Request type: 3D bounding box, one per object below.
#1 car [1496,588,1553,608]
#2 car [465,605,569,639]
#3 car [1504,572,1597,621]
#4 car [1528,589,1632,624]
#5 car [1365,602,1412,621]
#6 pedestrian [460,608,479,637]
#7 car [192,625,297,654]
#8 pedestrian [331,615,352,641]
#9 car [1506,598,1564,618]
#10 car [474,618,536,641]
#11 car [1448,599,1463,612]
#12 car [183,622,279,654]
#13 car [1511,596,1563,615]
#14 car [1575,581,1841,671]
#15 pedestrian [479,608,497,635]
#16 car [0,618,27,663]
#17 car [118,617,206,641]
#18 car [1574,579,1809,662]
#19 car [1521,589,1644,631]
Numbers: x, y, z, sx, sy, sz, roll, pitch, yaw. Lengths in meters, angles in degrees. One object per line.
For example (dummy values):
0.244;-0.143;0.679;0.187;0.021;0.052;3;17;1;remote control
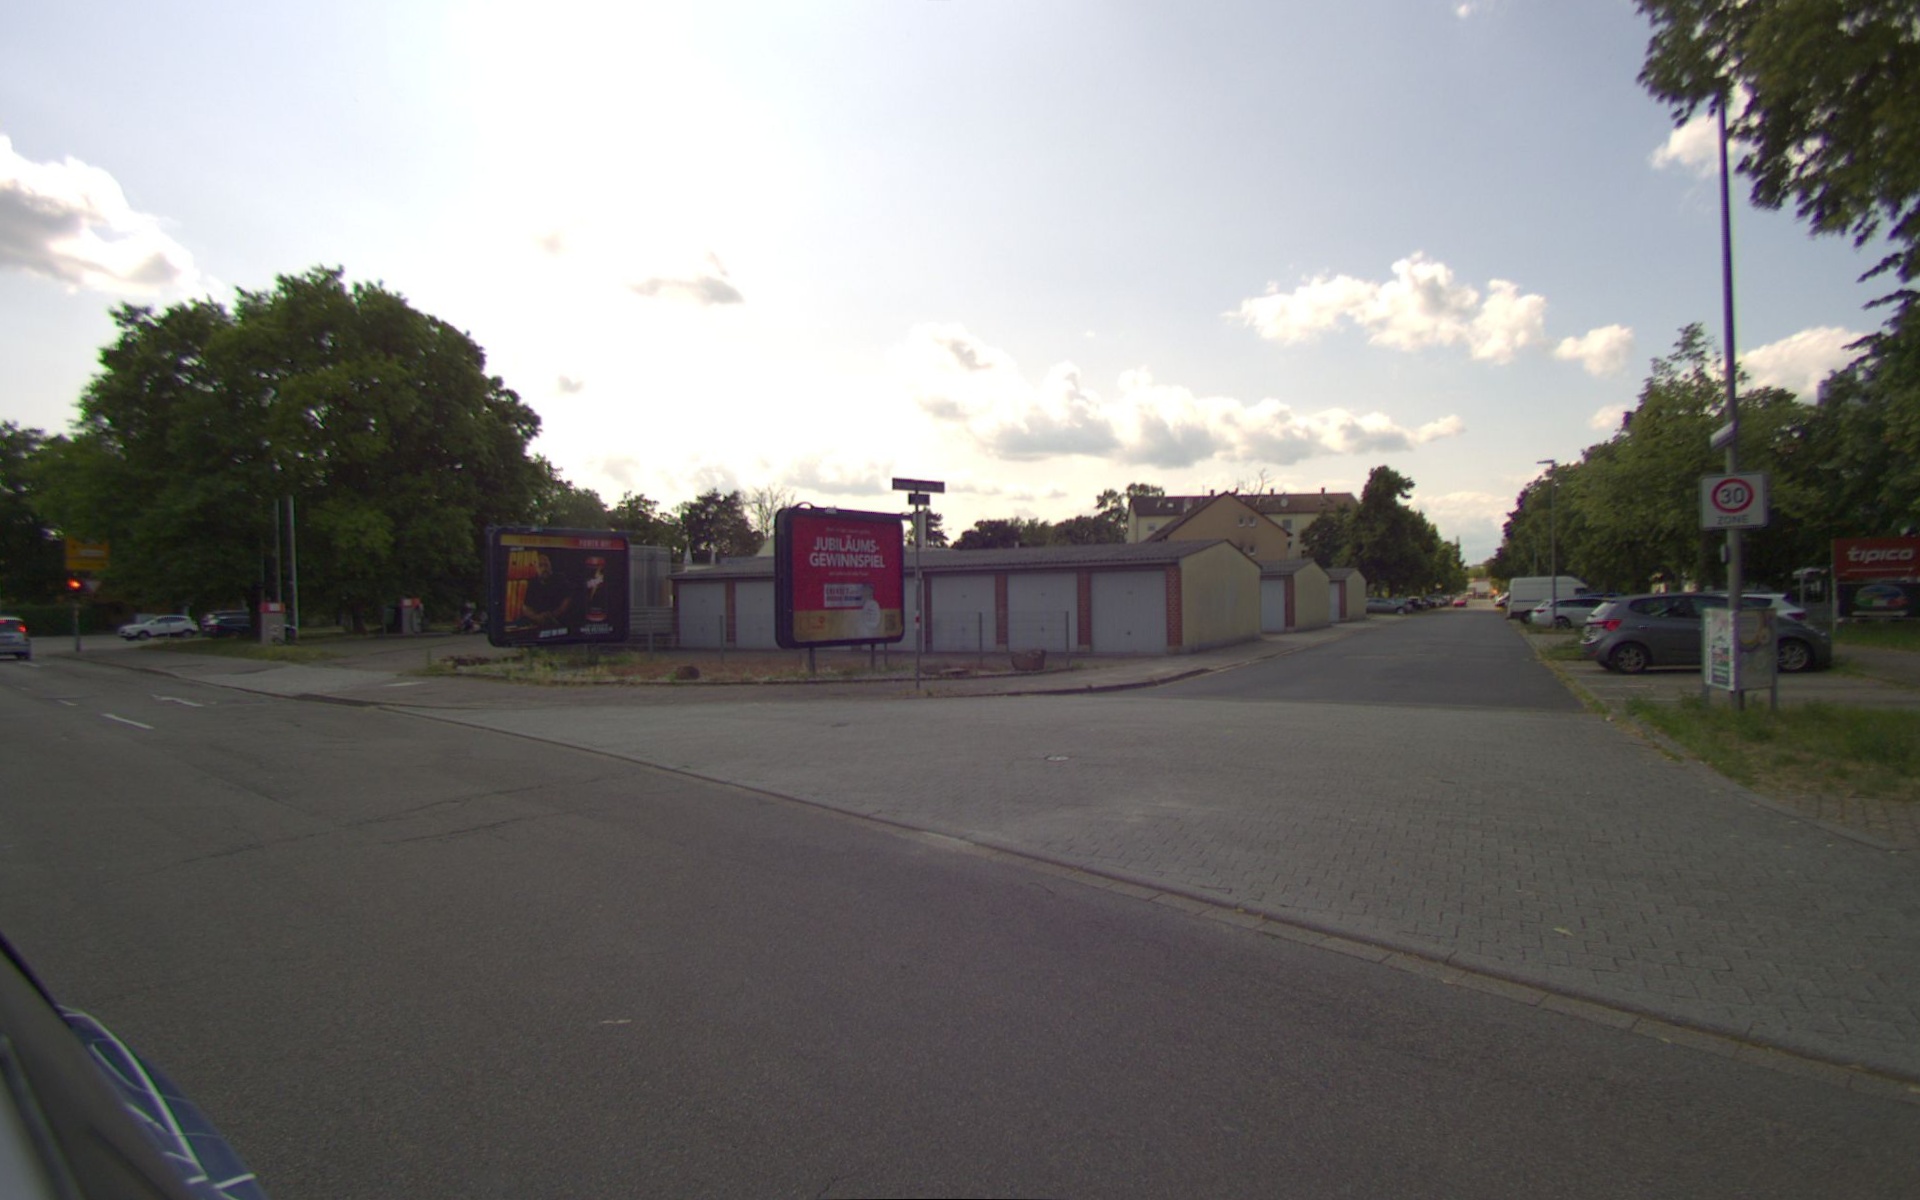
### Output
66.403;-0.176;119.144;5.842;2.183;1.722;-1;-1;29;car
-22.277;1.100;50.914;4.527;1.608;2.141;-1;0;18;car
32.377;-0.189;55.594;4.239;2.547;1.837;-1;-1;27;car
30.605;0.350;50.053;4.247;1.493;1.633;-4;-2;33;car
37.045;0.975;87.517;3.613;1.575;1.471;-1;-1;29;car
-22.018;0.992;45.461;0.634;1.265;0.768;1;0;-16;pedestrian
-42.359;2.299;60.054;1.794;1.508;4.827;1;0;28;car
-37.457;1.669;61.266;0.720;1.543;0.757;-2;0;12;pedestrian
49.832;0.707;87.783;4.247;1.493;1.633;-4;-2;33;car
-35.593;2.302;79.346;1.696;1.631;4.319;0;1;28;car
69.148;0.738;141.356;1.675;1.670;4.105;1;0;24;car
-44.865;2.300;62.394;1.810;1.759;4.507;0;0;28;car
52.848;0.519;92.733;4.012;1.689;1.580;-1;-1;29;car
14.634;0.535;20.086;3.877;1.550;1.639;-3;-2;24;car
-21.565;0.988;46.255;0.634;1.199;0.768;1;0;-16;pedestrian
-34.354;1.428;35.854;3.607;1.528;1.538;-1;0;41;car
-55.024;1.994;69.860;1.720;1.473;4.493;-1;0;28;car
16.071;0.477;22.492;3.877;1.603;1.639;-3;-2;24;car
25.973;0.428;42.366;4.246;1.493;1.634;-4;-2;32;car
